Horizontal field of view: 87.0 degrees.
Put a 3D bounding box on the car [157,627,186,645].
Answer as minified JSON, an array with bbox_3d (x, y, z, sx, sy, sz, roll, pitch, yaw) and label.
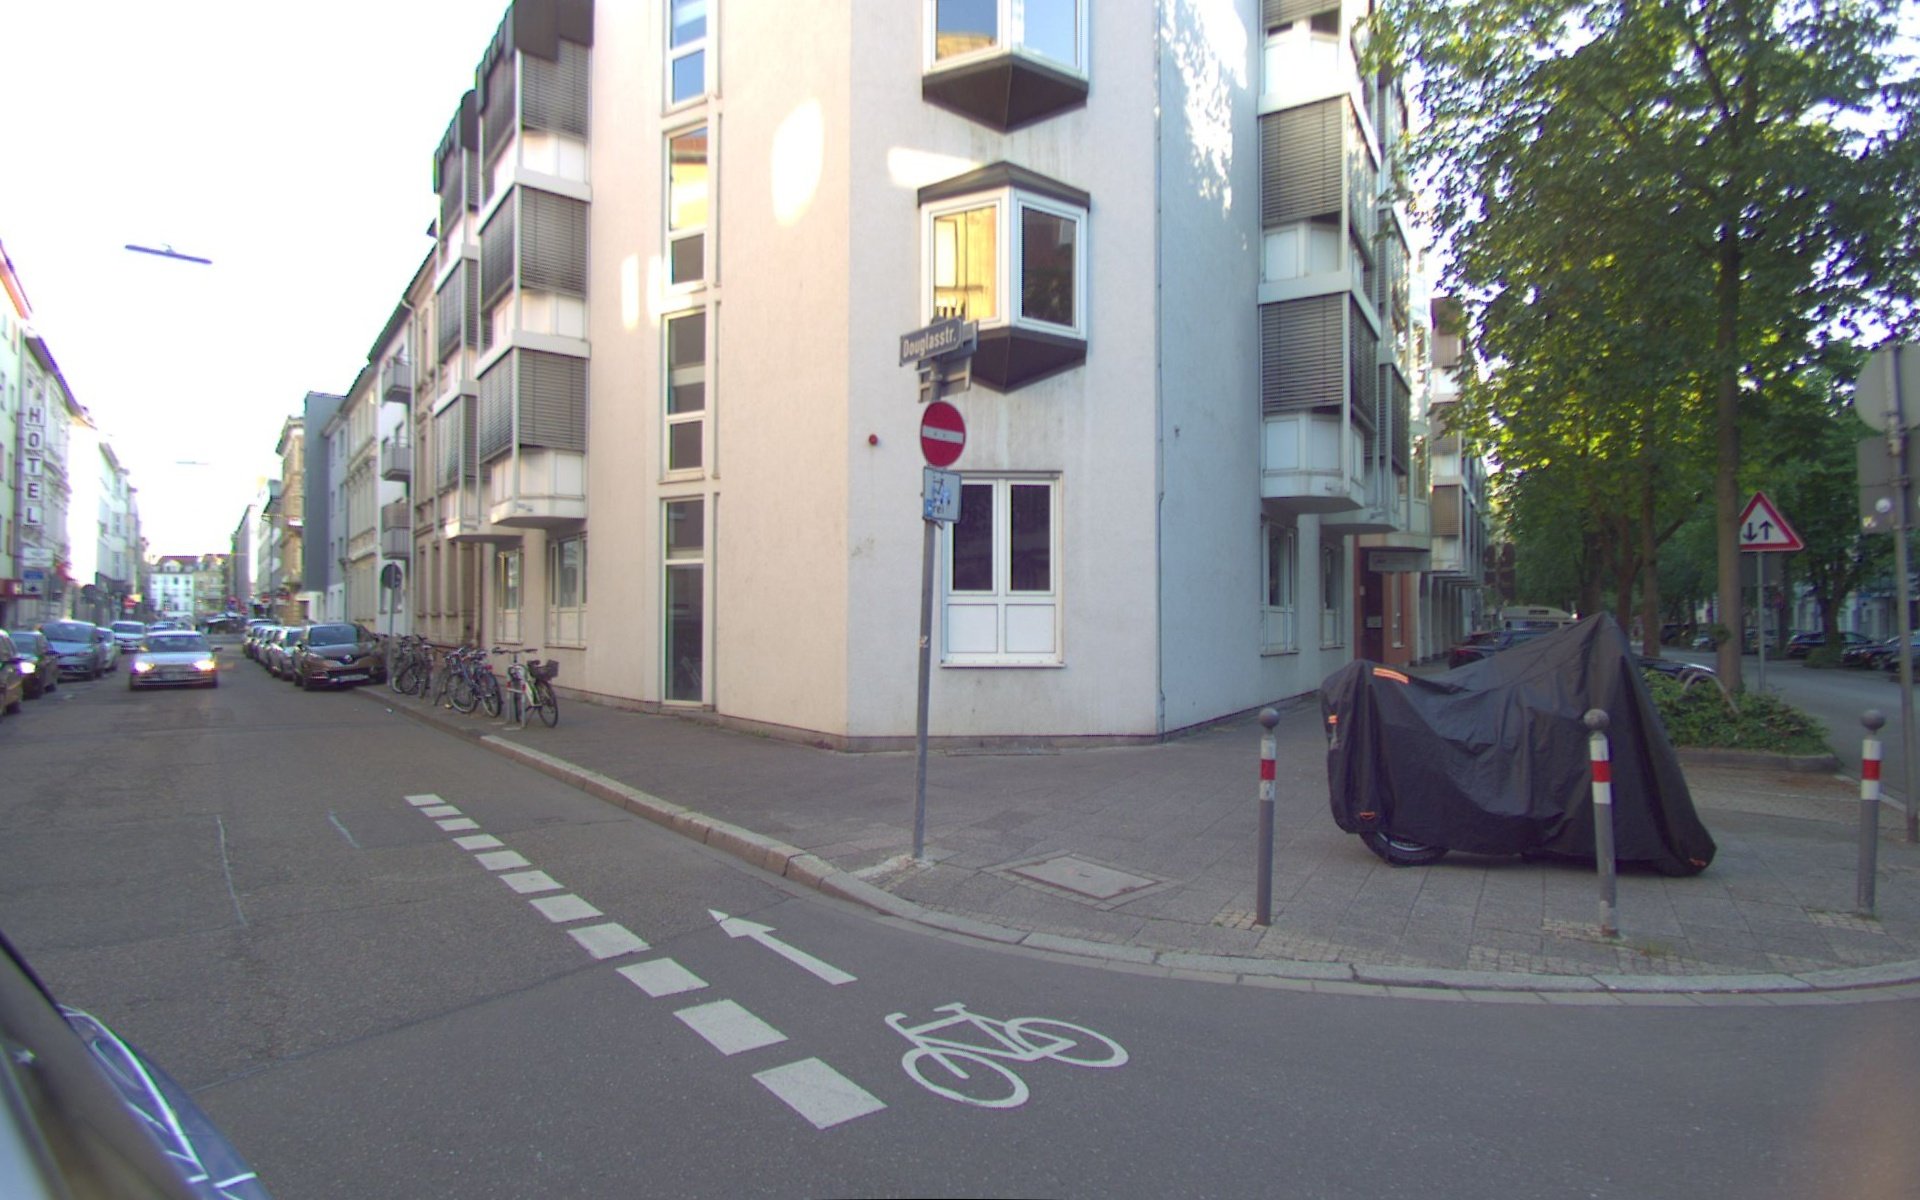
[{"bbox_3d":[-63.723,2.930,81.806,1.702,1.409,3.901,0,-2,-36],"label":"car"}]

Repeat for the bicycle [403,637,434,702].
[{"bbox_3d":[-10.886,1.363,20.334,0.303,1.232,1.817,0,-2,-36],"label":"bicycle"}]

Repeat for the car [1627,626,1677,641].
[{"bbox_3d":[64.323,3.093,94.167,3.653,1.403,1.550,-1,-2,29],"label":"car"}]

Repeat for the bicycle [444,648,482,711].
[{"bbox_3d":[-9.020,1.411,18.346,0.303,1.050,1.817,0,-2,-36],"label":"bicycle"}]

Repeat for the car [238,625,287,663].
[{"bbox_3d":[-33.440,2.092,48.474,1.617,1.724,3.790,1,-2,-39],"label":"car"}]

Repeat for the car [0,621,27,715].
[{"bbox_3d":[-16.771,1.121,16.636,1.667,1.525,4.292,0,-2,-37],"label":"car"}]

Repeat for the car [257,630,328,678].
[{"bbox_3d":[-23.169,1.812,35.073,1.767,1.551,4.503,0,-2,-37],"label":"car"}]

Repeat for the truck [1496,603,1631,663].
[{"bbox_3d":[26.336,1.401,44.300,5.000,2.459,1.895,0,0,32],"label":"truck"}]

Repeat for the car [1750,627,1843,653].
[{"bbox_3d":[45.776,2.188,55.484,3.653,1.403,1.550,-1,-2,29],"label":"car"}]

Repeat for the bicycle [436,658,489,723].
[{"bbox_3d":[-7.952,1.420,16.140,0.303,0.939,1.815,0,-1,-41],"label":"bicycle"}]

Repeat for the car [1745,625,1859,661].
[{"bbox_3d":[37.670,1.893,45.376,3.653,1.548,1.550,-1,-2,29],"label":"car"}]

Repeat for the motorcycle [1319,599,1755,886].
[{"bbox_3d":[3.355,0.795,6.094,2.139,1.567,0.667,0,-2,11],"label":"motorcycle"}]

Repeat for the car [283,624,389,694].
[{"bbox_3d":[-15.752,1.418,25.458,1.768,1.588,4.078,1,-2,-39],"label":"car"}]

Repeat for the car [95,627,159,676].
[{"bbox_3d":[-28.794,1.744,35.061,1.549,1.591,3.597,1,-2,-37],"label":"car"}]

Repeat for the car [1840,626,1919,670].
[{"bbox_3d":[34.620,1.724,36.686,3.788,1.541,1.550,-2,-2,29],"label":"car"}]

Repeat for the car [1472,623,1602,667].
[{"bbox_3d":[21.416,1.641,37.658,4.130,1.483,1.623,0,-1,31],"label":"car"}]

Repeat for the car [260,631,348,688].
[{"bbox_3d":[-19.538,1.705,30.067,1.768,1.551,4.442,1,-2,-39],"label":"car"}]

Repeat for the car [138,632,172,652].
[{"bbox_3d":[-57.856,3.000,72.809,1.702,1.409,3.901,0,-2,-36],"label":"car"}]

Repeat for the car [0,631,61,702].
[{"bbox_3d":[-21.371,1.428,22.541,1.667,1.469,4.140,0,-2,-37],"label":"car"}]

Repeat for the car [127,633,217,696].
[{"bbox_3d":[-19.989,1.570,25.773,1.655,1.414,4.481,-1,-1,-37],"label":"car"}]

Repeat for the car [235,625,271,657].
[{"bbox_3d":[-41.085,2.368,58.794,1.616,1.810,3.791,0,-2,-37],"label":"car"}]

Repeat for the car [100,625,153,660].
[{"bbox_3d":[-44.950,2.282,54.649,1.813,1.708,4.369,6,-5,-36],"label":"car"}]

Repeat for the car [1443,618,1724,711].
[{"bbox_3d":[11.675,1.147,19.246,4.355,1.520,1.815,0,-1,31],"label":"car"}]

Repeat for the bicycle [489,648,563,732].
[{"bbox_3d":[-6.285,1.270,14.606,0.395,1.111,1.815,0,-2,-43],"label":"bicycle"}]

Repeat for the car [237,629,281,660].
[{"bbox_3d":[-37.220,2.323,53.690,1.617,1.592,3.790,1,-2,-39],"label":"car"}]

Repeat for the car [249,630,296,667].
[{"bbox_3d":[-29.958,2.080,44.077,1.616,1.500,3.963,0,-2,-35],"label":"car"}]

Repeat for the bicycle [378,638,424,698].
[{"bbox_3d":[-12.174,1.447,22.008,0.587,1.196,2.270,0,-2,-36],"label":"bicycle"}]

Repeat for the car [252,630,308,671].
[{"bbox_3d":[-26.870,1.947,39.970,1.617,1.500,3.797,0,-2,-37],"label":"car"}]

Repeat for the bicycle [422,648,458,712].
[{"bbox_3d":[-9.319,1.402,18.114,0.303,1.050,1.817,0,-2,-36],"label":"bicycle"}]

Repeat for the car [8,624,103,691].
[{"bbox_3d":[-25.736,1.578,28.922,1.667,1.754,4.118,1,-2,-37],"label":"car"}]

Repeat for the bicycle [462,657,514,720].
[{"bbox_3d":[-7.634,1.406,16.339,0.303,0.939,1.816,1,-2,-40],"label":"bicycle"}]

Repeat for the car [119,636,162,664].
[{"bbox_3d":[-47.534,2.862,58.750,1.702,1.489,3.985,0,-1,-36],"label":"car"}]

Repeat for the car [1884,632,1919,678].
[{"bbox_3d":[31.026,1.687,31.027,3.653,1.403,1.550,-2,-2,29],"label":"car"}]
